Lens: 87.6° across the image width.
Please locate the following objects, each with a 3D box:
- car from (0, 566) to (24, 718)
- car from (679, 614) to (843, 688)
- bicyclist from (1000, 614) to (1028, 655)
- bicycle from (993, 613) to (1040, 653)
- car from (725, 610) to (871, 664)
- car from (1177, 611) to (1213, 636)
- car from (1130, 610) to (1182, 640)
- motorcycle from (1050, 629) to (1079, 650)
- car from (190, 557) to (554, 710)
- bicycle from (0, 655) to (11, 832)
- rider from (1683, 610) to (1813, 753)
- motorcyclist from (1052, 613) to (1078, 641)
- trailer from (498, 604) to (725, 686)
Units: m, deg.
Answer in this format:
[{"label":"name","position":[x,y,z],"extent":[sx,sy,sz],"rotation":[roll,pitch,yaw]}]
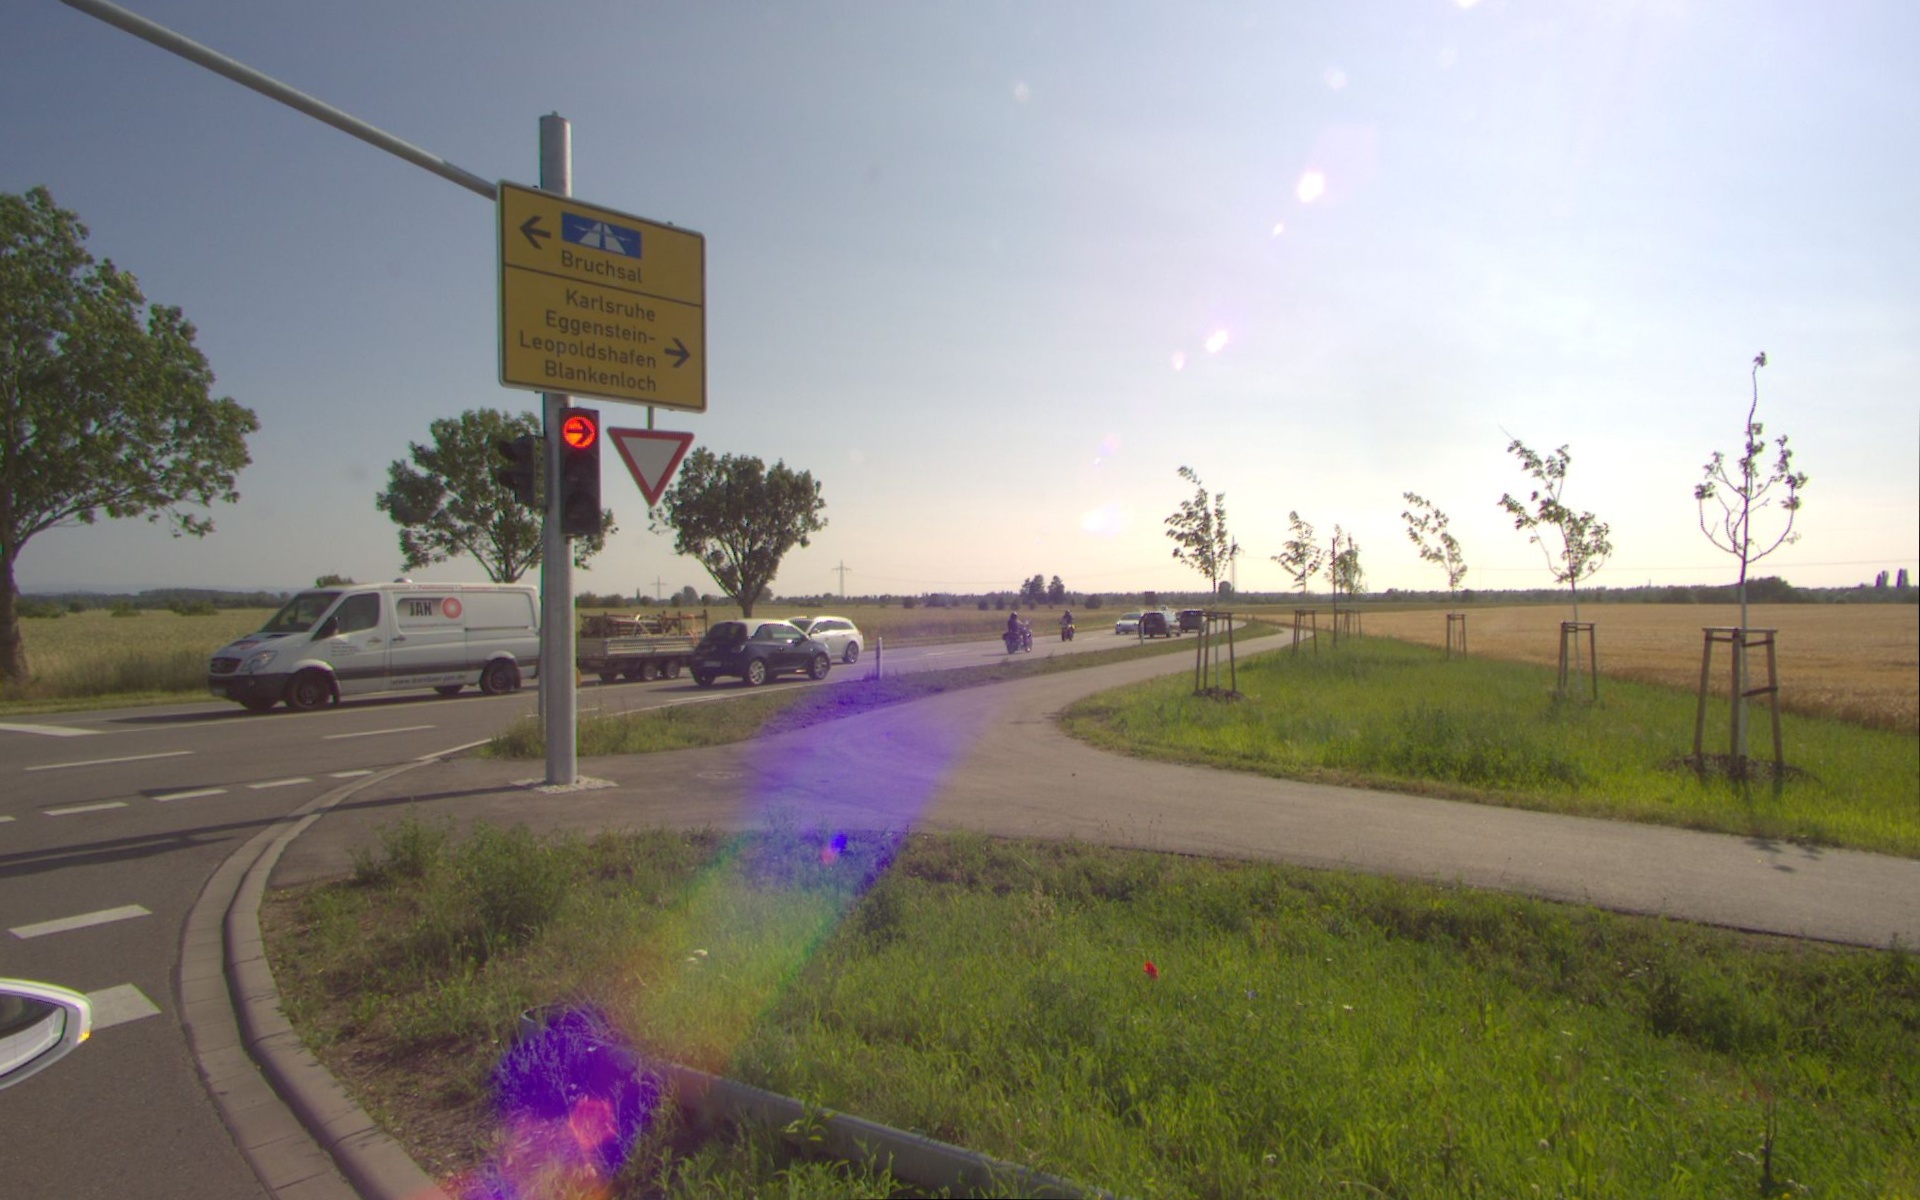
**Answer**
[{"label":"car","position":[-18.721,0.661,15.399],"extent":[2.355,2.610,5.892],"rotation":[-1,-2,26]},{"label":"car","position":[-4.520,1.107,23.189],"extent":[1.703,1.476,3.721],"rotation":[0,1,30]},{"label":"bicyclist","position":[2.032,1.291,37.500],"extent":[0.746,1.508,0.807],"rotation":[-1,-2,31]},{"label":"bicycle","position":[2.145,1.237,37.708],"extent":[0.721,1.415,2.488],"rotation":[-1,0,29]},{"label":"car","position":[-4.893,1.147,30.973],"extent":[1.969,1.529,4.868],"rotation":[-1,-2,27]},{"label":"car","position":[16.294,1.671,69.321],"extent":[1.734,1.689,3.959],"rotation":[-1,-2,23]},{"label":"car","position":[11.169,1.374,56.790],"extent":[1.890,1.539,4.674],"rotation":[1,0,24]},{"label":"motorcycle","position":[5.593,2.096,53.258],"extent":[0.836,1.133,2.140],"rotation":[0,-2,26]},{"label":"car","position":[-11.105,0.633,19.555],"extent":[1.970,2.524,5.950],"rotation":[-1,-2,30]},{"label":"bicycle","position":[-7.379,0.972,6.099],"extent":[0.876,1.201,2.155],"rotation":[-1,-1,27]},{"label":"rider","position":[9.667,0.967,12.306],"extent":[0.973,1.665,0.820],"rotation":[0,1,-17]},{"label":"motorcyclist","position":[5.584,1.444,53.242],"extent":[1.013,1.479,1.067],"rotation":[0,-1,27]},{"label":"trailer","position":[-8.311,1.010,24.449],"extent":[1.925,1.776,5.254],"rotation":[-1,-1,30]}]
